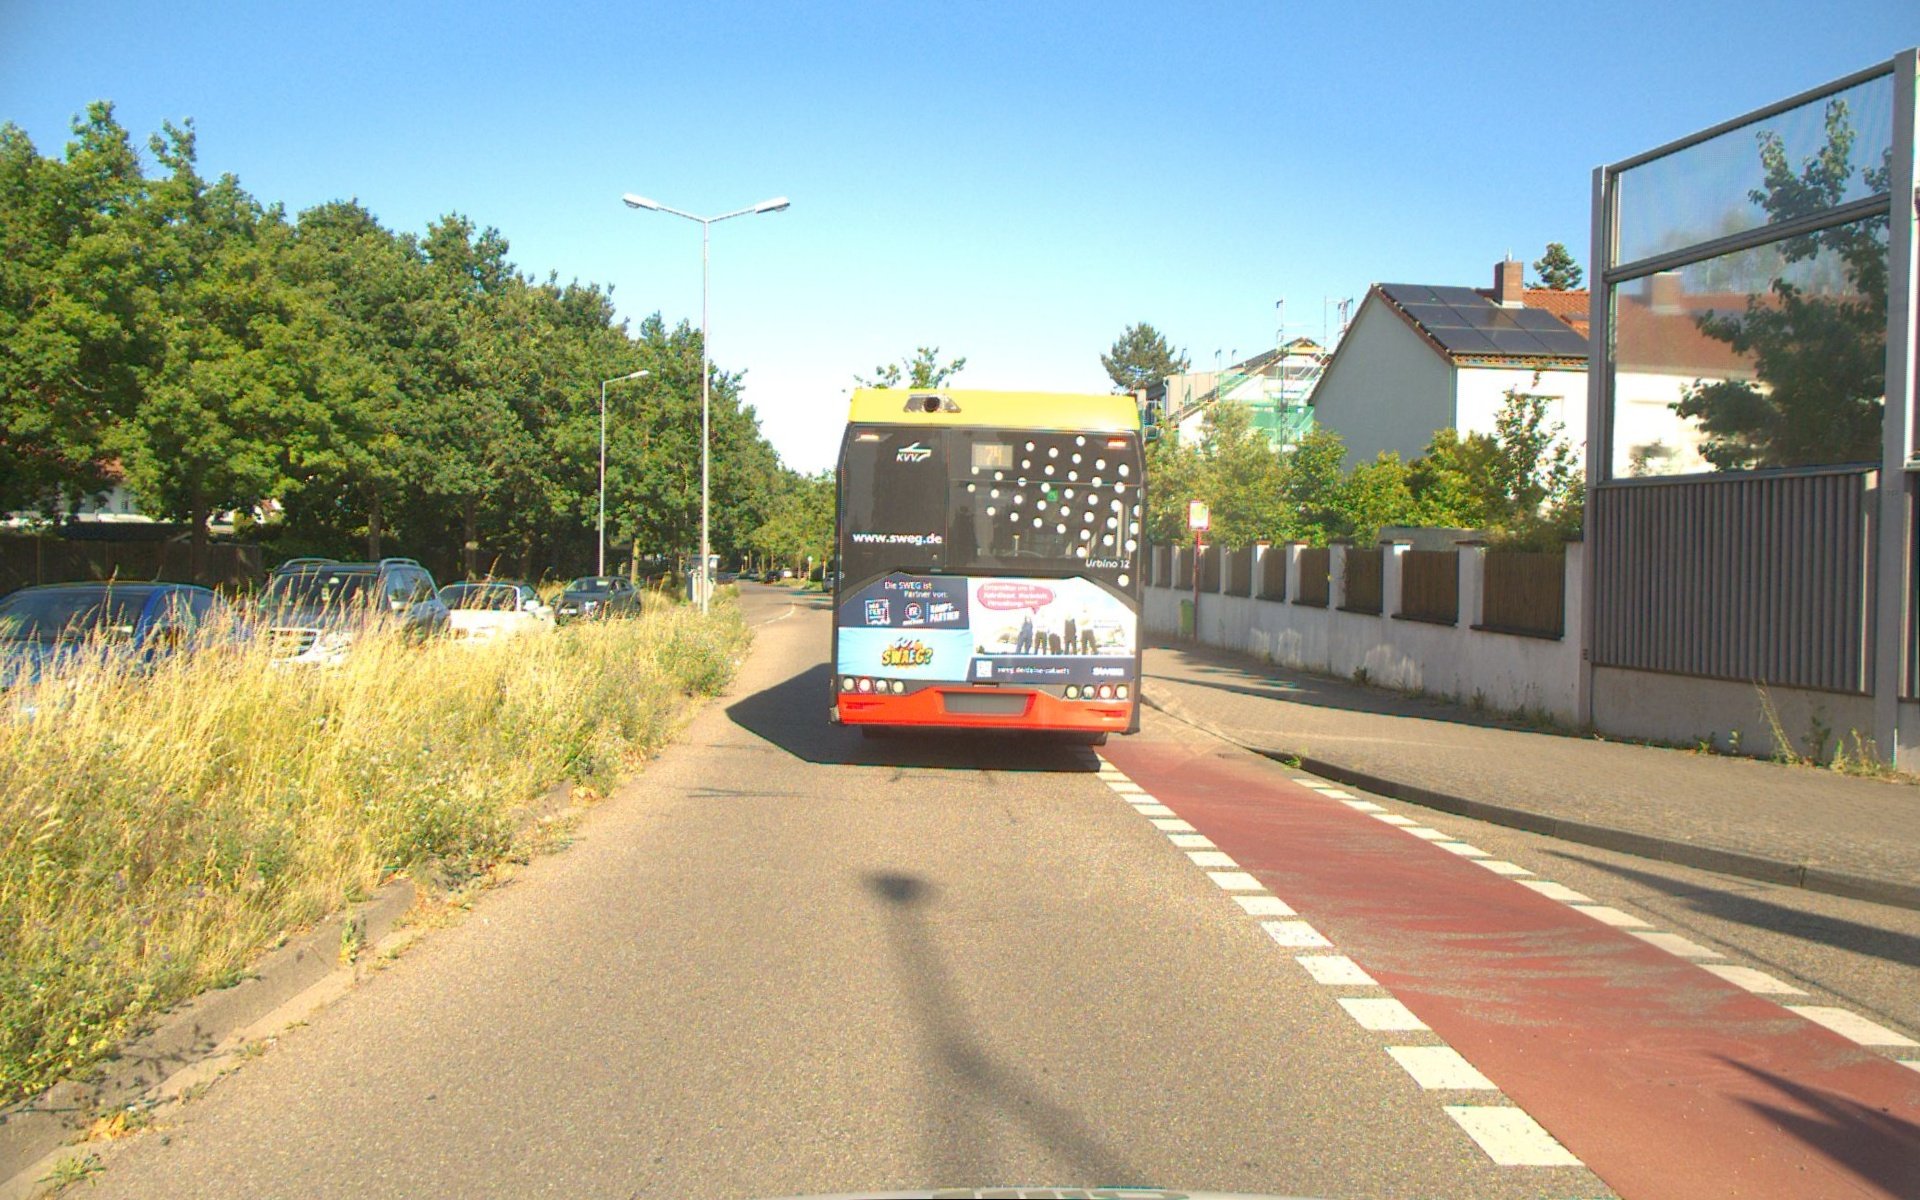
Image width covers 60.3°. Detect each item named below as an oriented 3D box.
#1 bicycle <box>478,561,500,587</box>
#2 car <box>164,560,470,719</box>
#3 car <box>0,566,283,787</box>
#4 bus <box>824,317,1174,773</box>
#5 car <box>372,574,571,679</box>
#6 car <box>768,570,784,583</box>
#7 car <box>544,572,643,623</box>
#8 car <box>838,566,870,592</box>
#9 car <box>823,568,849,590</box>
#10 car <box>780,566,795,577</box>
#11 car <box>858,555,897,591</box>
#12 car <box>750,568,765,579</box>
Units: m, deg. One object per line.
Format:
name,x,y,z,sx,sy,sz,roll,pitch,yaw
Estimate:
bicycle,-19.315,-1.062,67.796,0.495,1.072,1.878,1,1,-5
car,-7.336,0.354,19.422,1.953,1.644,4.529,0,1,-2
car,-7.087,0.487,13.355,1.711,1.509,3.887,0,1,-1
bus,0.217,-0.471,18.984,2.701,3.518,12.396,0,0,-1
car,-7.542,0.348,26.003,1.953,1.475,4.398,0,1,-2
car,-22.716,-2.938,204.324,1.897,1.569,3.993,1,1,-8
car,-10.986,-0.108,49.791,1.673,1.455,4.003,-1,1,7
car,-7.296,-1.479,114.050,1.899,1.733,3.993,1,1,-8
car,-10.243,-1.769,136.208,1.897,1.772,3.993,1,1,-8
car,-23.985,-3.958,230.325,1.898,1.479,3.992,1,1,-9
car,-4.720,-1.544,94.128,1.801,2.005,4.751,1,1,-8
car,-28.047,-3.738,229.335,1.898,1.479,3.992,1,1,-9
